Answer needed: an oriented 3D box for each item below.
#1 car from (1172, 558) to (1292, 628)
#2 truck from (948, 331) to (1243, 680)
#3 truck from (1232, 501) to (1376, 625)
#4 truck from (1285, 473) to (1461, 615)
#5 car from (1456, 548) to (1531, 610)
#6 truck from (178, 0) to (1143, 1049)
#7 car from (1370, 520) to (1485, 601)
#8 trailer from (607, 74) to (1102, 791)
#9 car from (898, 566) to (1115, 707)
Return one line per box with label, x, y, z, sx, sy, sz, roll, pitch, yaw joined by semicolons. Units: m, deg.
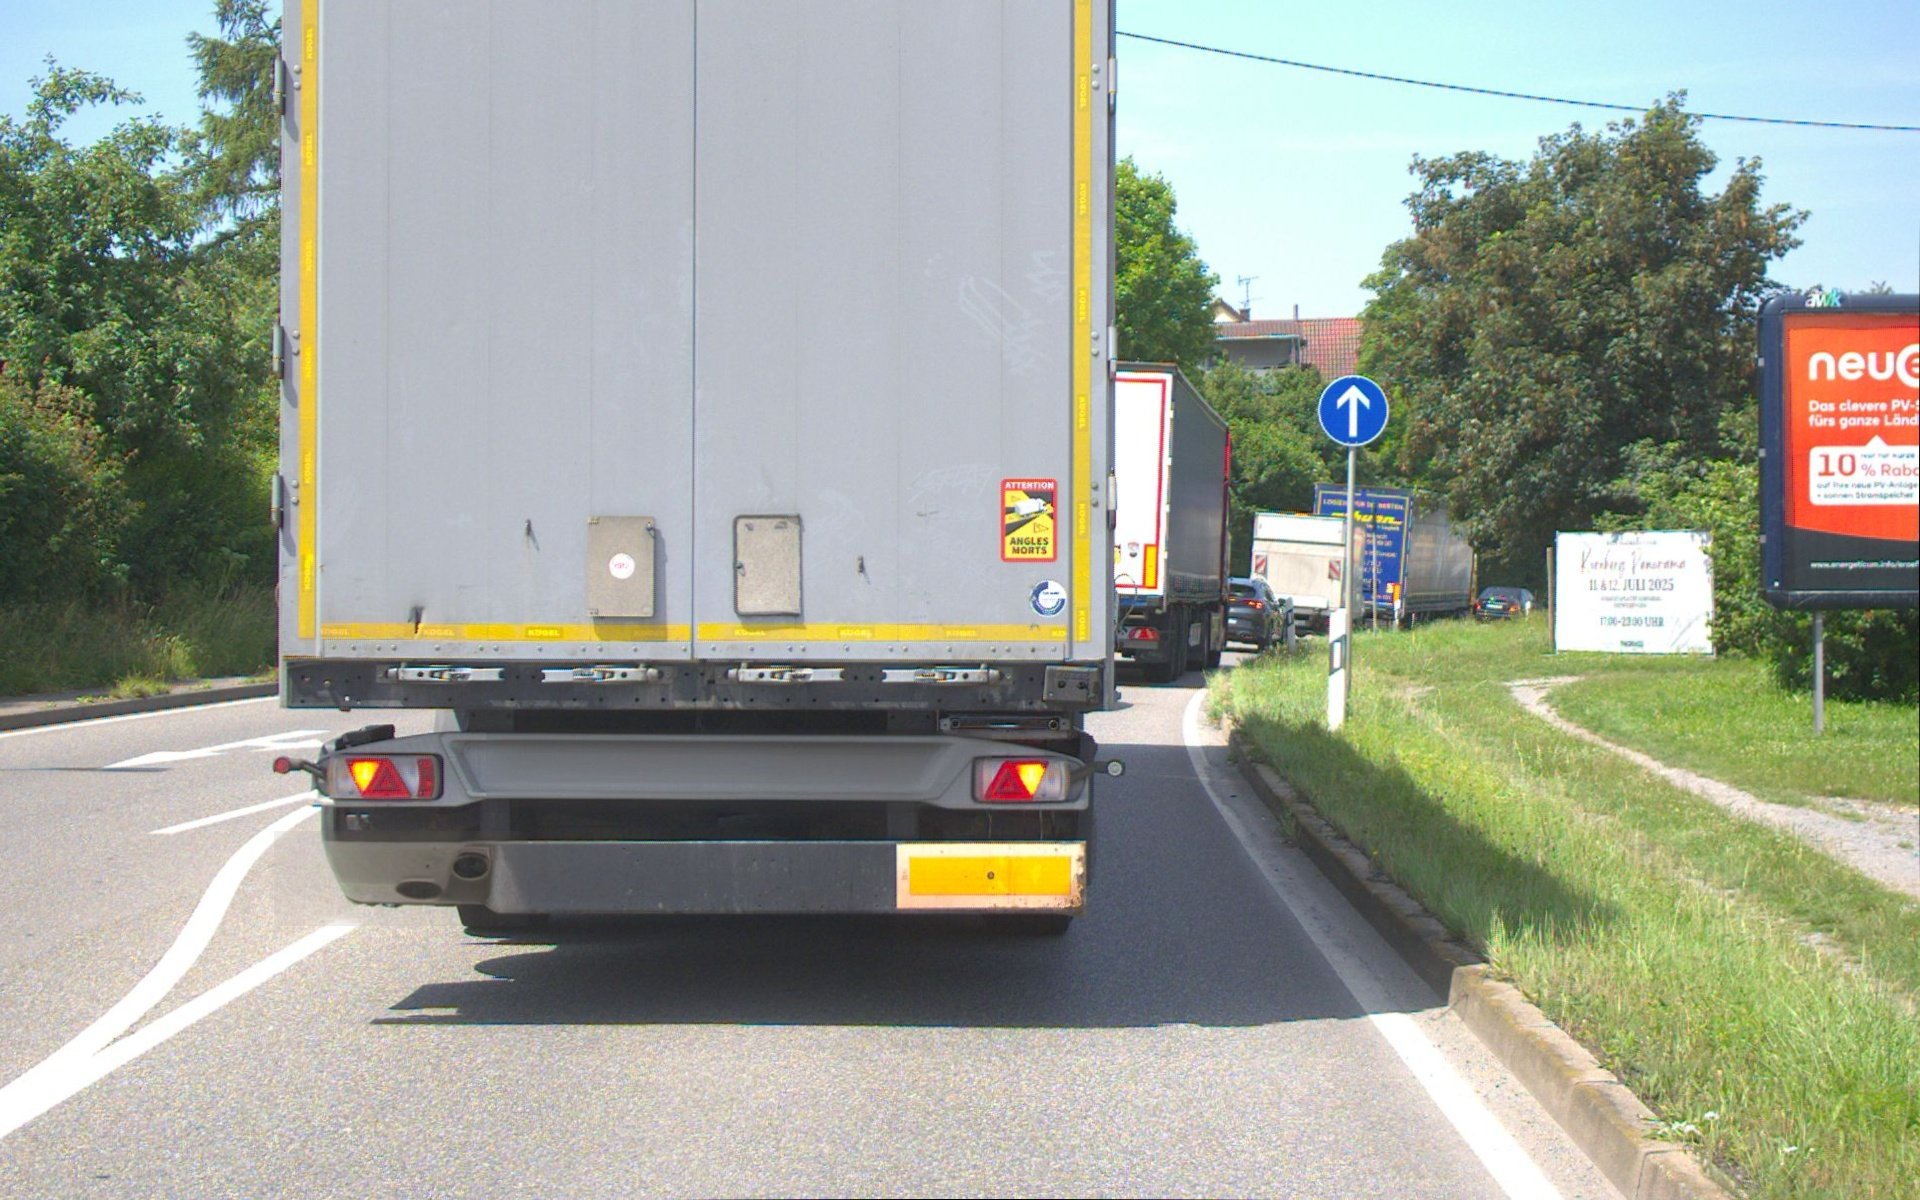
car;5.641;-0.136;70.920;1.994;1.371;3.998;1;0;11
truck;2.333;-1.185;50.587;2.761;4.274;16.410;1;0;8
truck;8.211;-0.845;81.509;2.545;2.793;6.028;1;0;14
truck;11.254;-1.542;92.906;3.435;3.592;9.347;1;1;15
car;17.749;-0.690;114.203;1.995;2.007;3.997;1;0;15
truck;-0.717;-0.869;15.875;2.822;4.113;11.443;1;1;2
car;13.835;-1.185;101.325;2.533;2.269;6.377;1;1;15
trailer;-0.505;-1.025;23.011;2.825;4.097;6.544;0;1;2
car;0.538;0.351;35.609;1.819;1.342;3.846;1;0;7
